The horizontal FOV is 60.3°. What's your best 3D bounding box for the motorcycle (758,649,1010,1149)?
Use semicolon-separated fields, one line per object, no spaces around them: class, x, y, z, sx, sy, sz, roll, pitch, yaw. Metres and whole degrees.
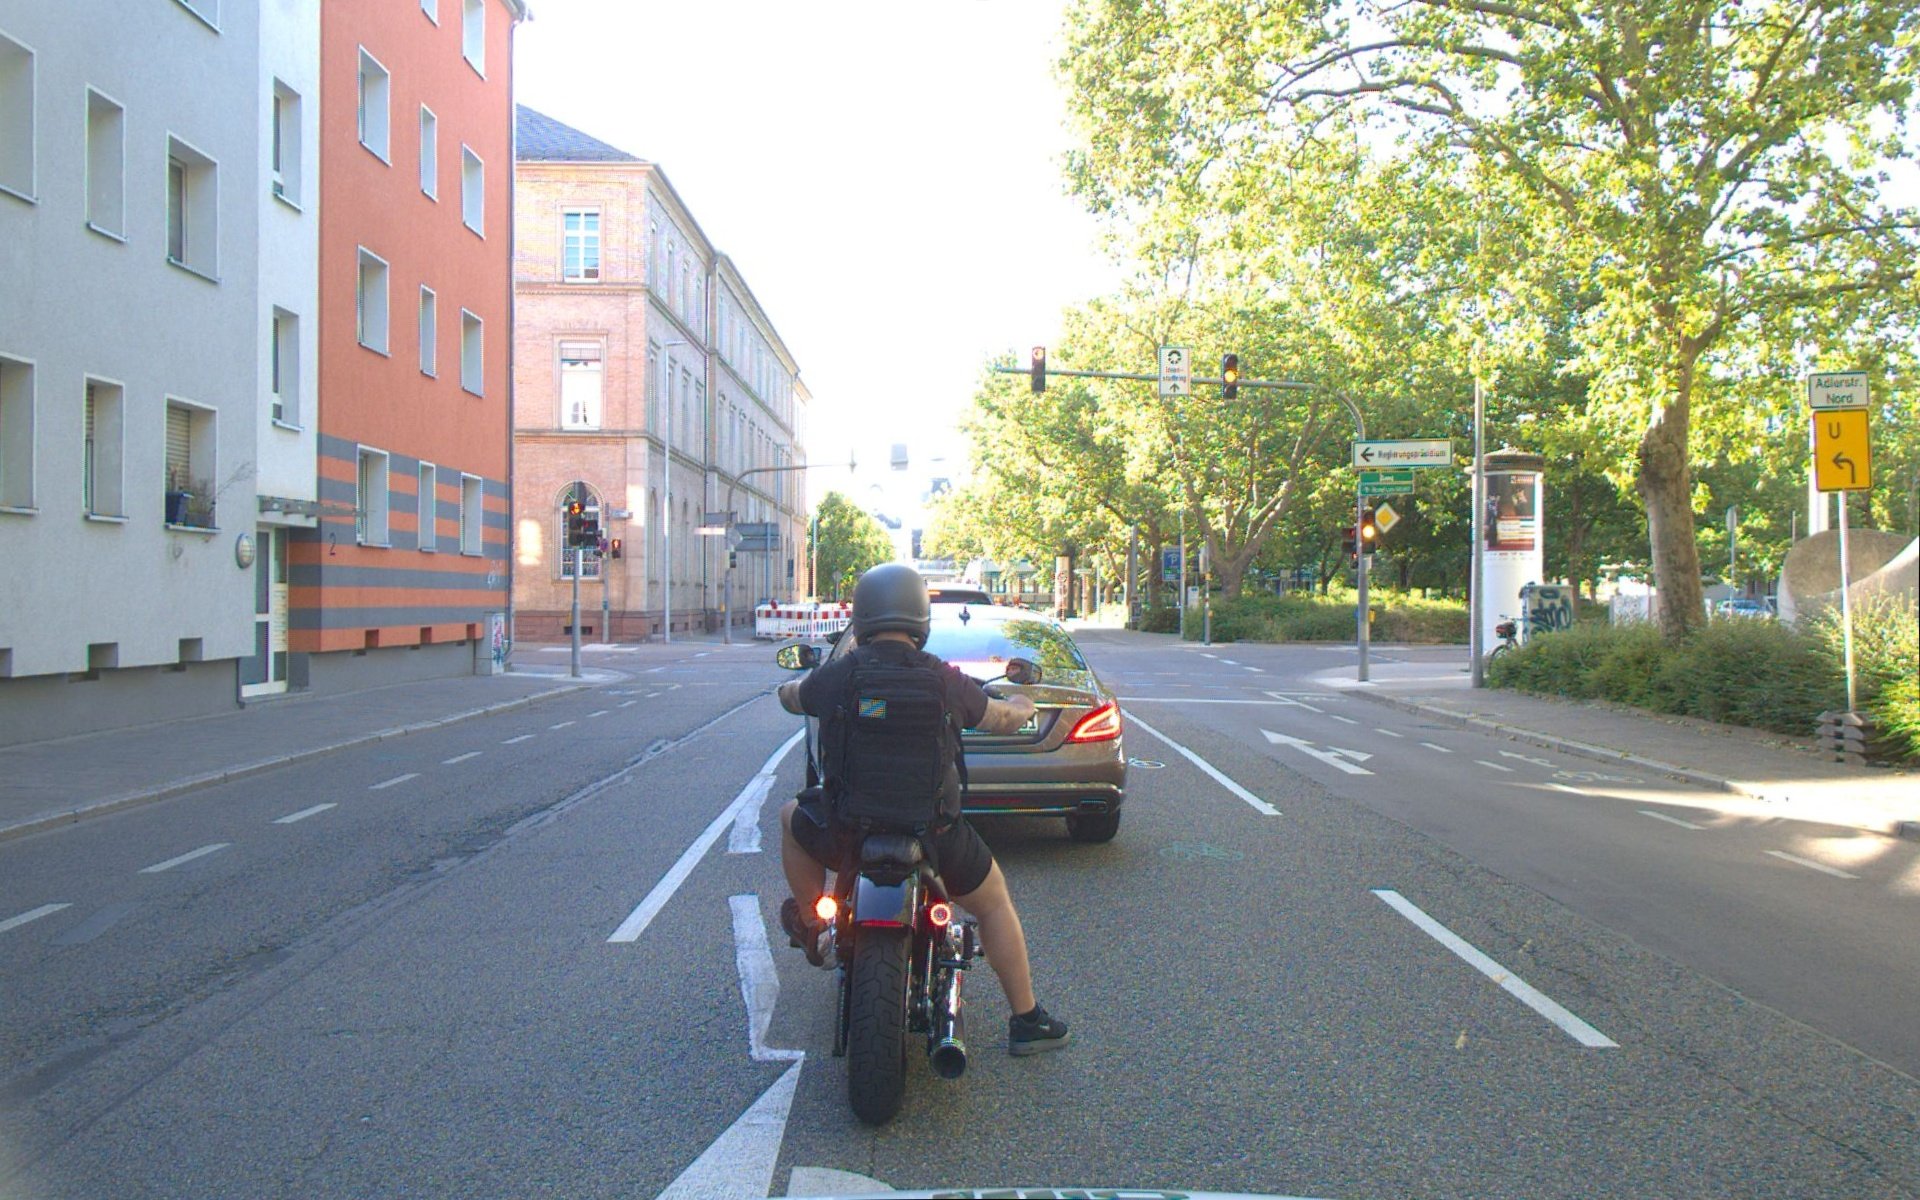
motorcycle;-0.216;0.822;5.409;0.646;1.261;2.057;1;0;-1

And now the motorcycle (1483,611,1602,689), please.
motorcycle;9.780;0.836;27.817;1.743;1.265;0.723;1;0;4

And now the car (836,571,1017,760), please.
car;-0.327;0.602;16.962;1.618;1.681;3.999;1;0;-1

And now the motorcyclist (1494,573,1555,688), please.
motorcyclist;9.488;0.504;27.828;0.805;1.896;0.672;1;-1;4

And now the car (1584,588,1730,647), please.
car;21.995;0.535;52.287;3.907;1.803;1.737;0;0;-3

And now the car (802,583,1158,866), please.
car;-0.082;0.686;11.119;1.790;1.512;4.326;1;0;-7
